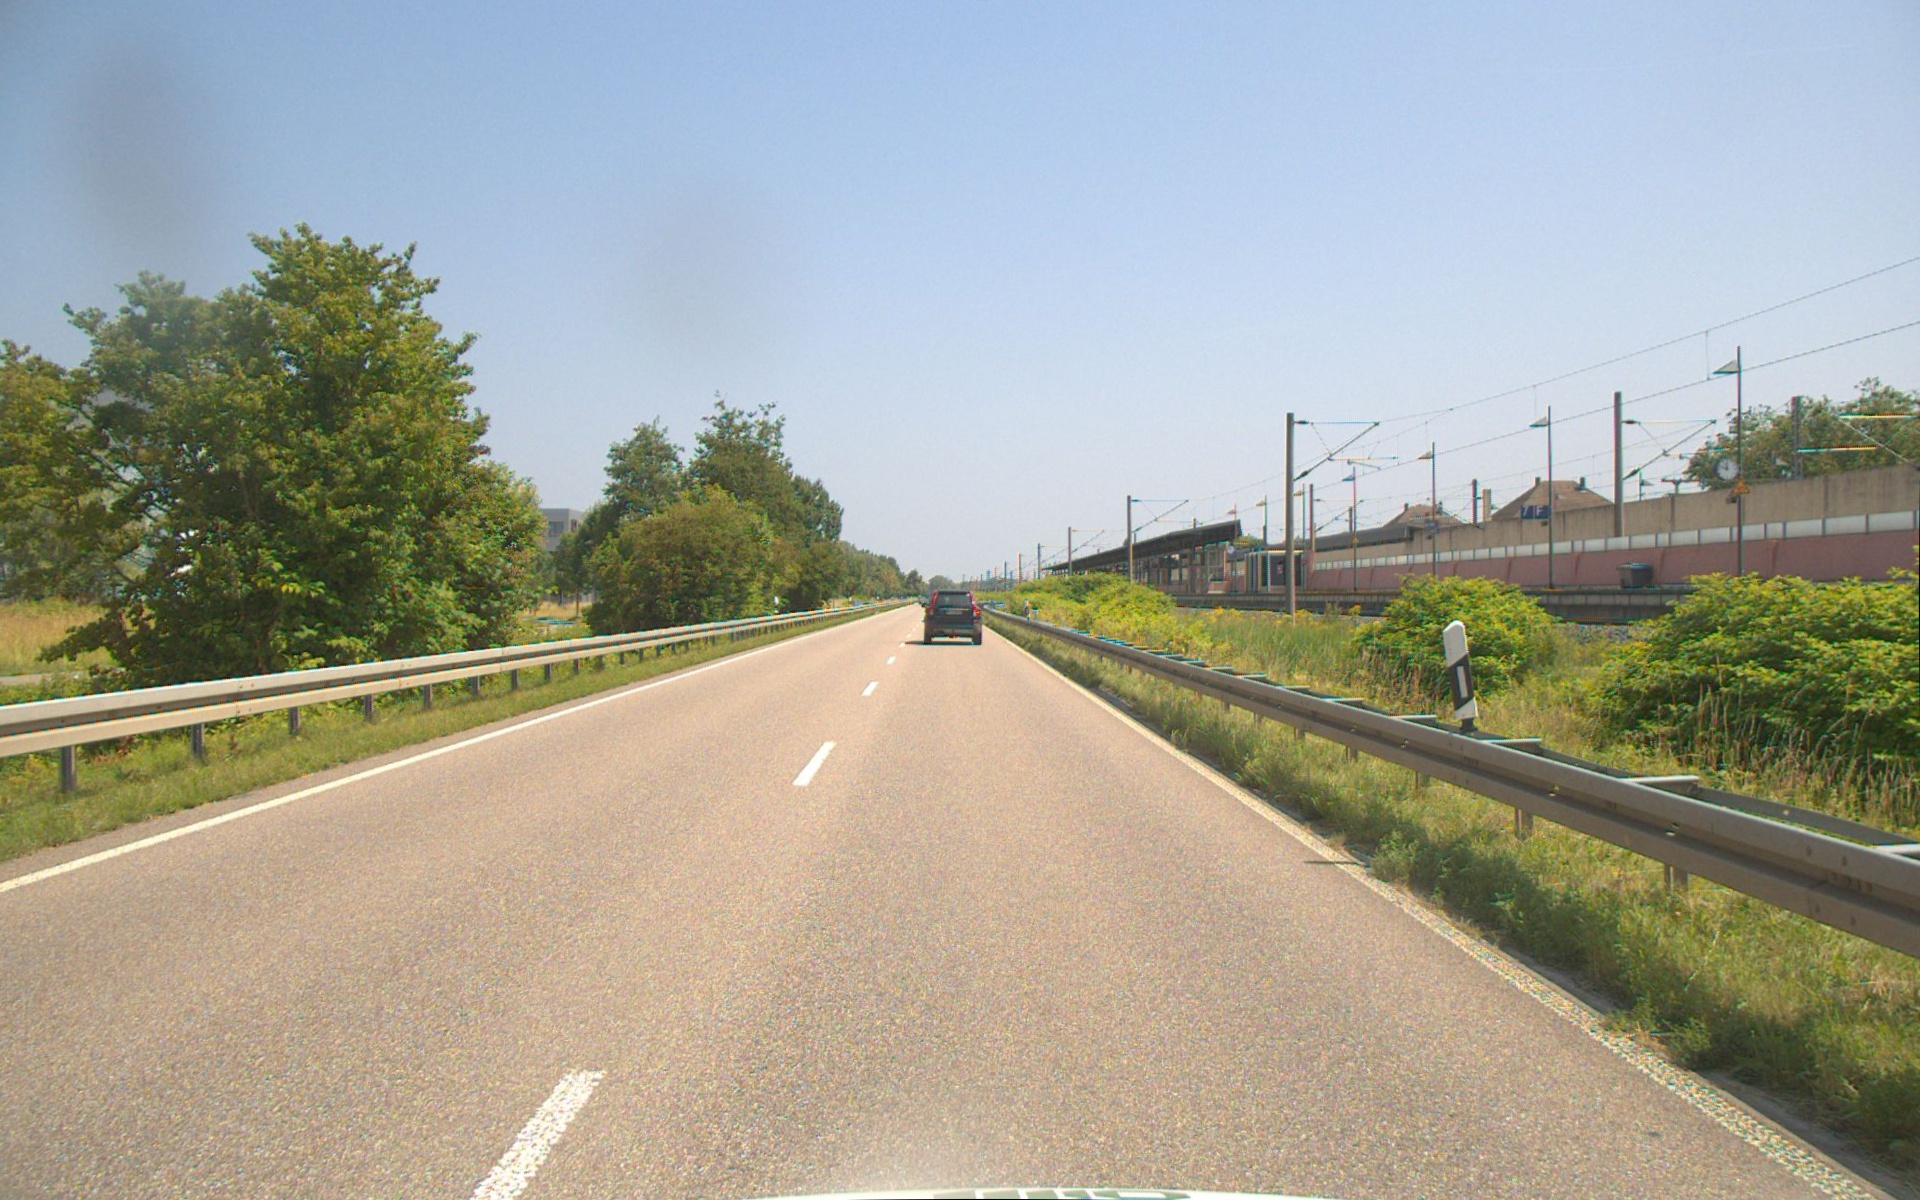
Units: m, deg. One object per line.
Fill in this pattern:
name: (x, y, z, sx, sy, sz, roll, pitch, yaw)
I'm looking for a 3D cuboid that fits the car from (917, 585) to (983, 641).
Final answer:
car: (-0.367, 0.400, 53.355, 1.954, 1.730, 3.998, 0, 0, -3)
